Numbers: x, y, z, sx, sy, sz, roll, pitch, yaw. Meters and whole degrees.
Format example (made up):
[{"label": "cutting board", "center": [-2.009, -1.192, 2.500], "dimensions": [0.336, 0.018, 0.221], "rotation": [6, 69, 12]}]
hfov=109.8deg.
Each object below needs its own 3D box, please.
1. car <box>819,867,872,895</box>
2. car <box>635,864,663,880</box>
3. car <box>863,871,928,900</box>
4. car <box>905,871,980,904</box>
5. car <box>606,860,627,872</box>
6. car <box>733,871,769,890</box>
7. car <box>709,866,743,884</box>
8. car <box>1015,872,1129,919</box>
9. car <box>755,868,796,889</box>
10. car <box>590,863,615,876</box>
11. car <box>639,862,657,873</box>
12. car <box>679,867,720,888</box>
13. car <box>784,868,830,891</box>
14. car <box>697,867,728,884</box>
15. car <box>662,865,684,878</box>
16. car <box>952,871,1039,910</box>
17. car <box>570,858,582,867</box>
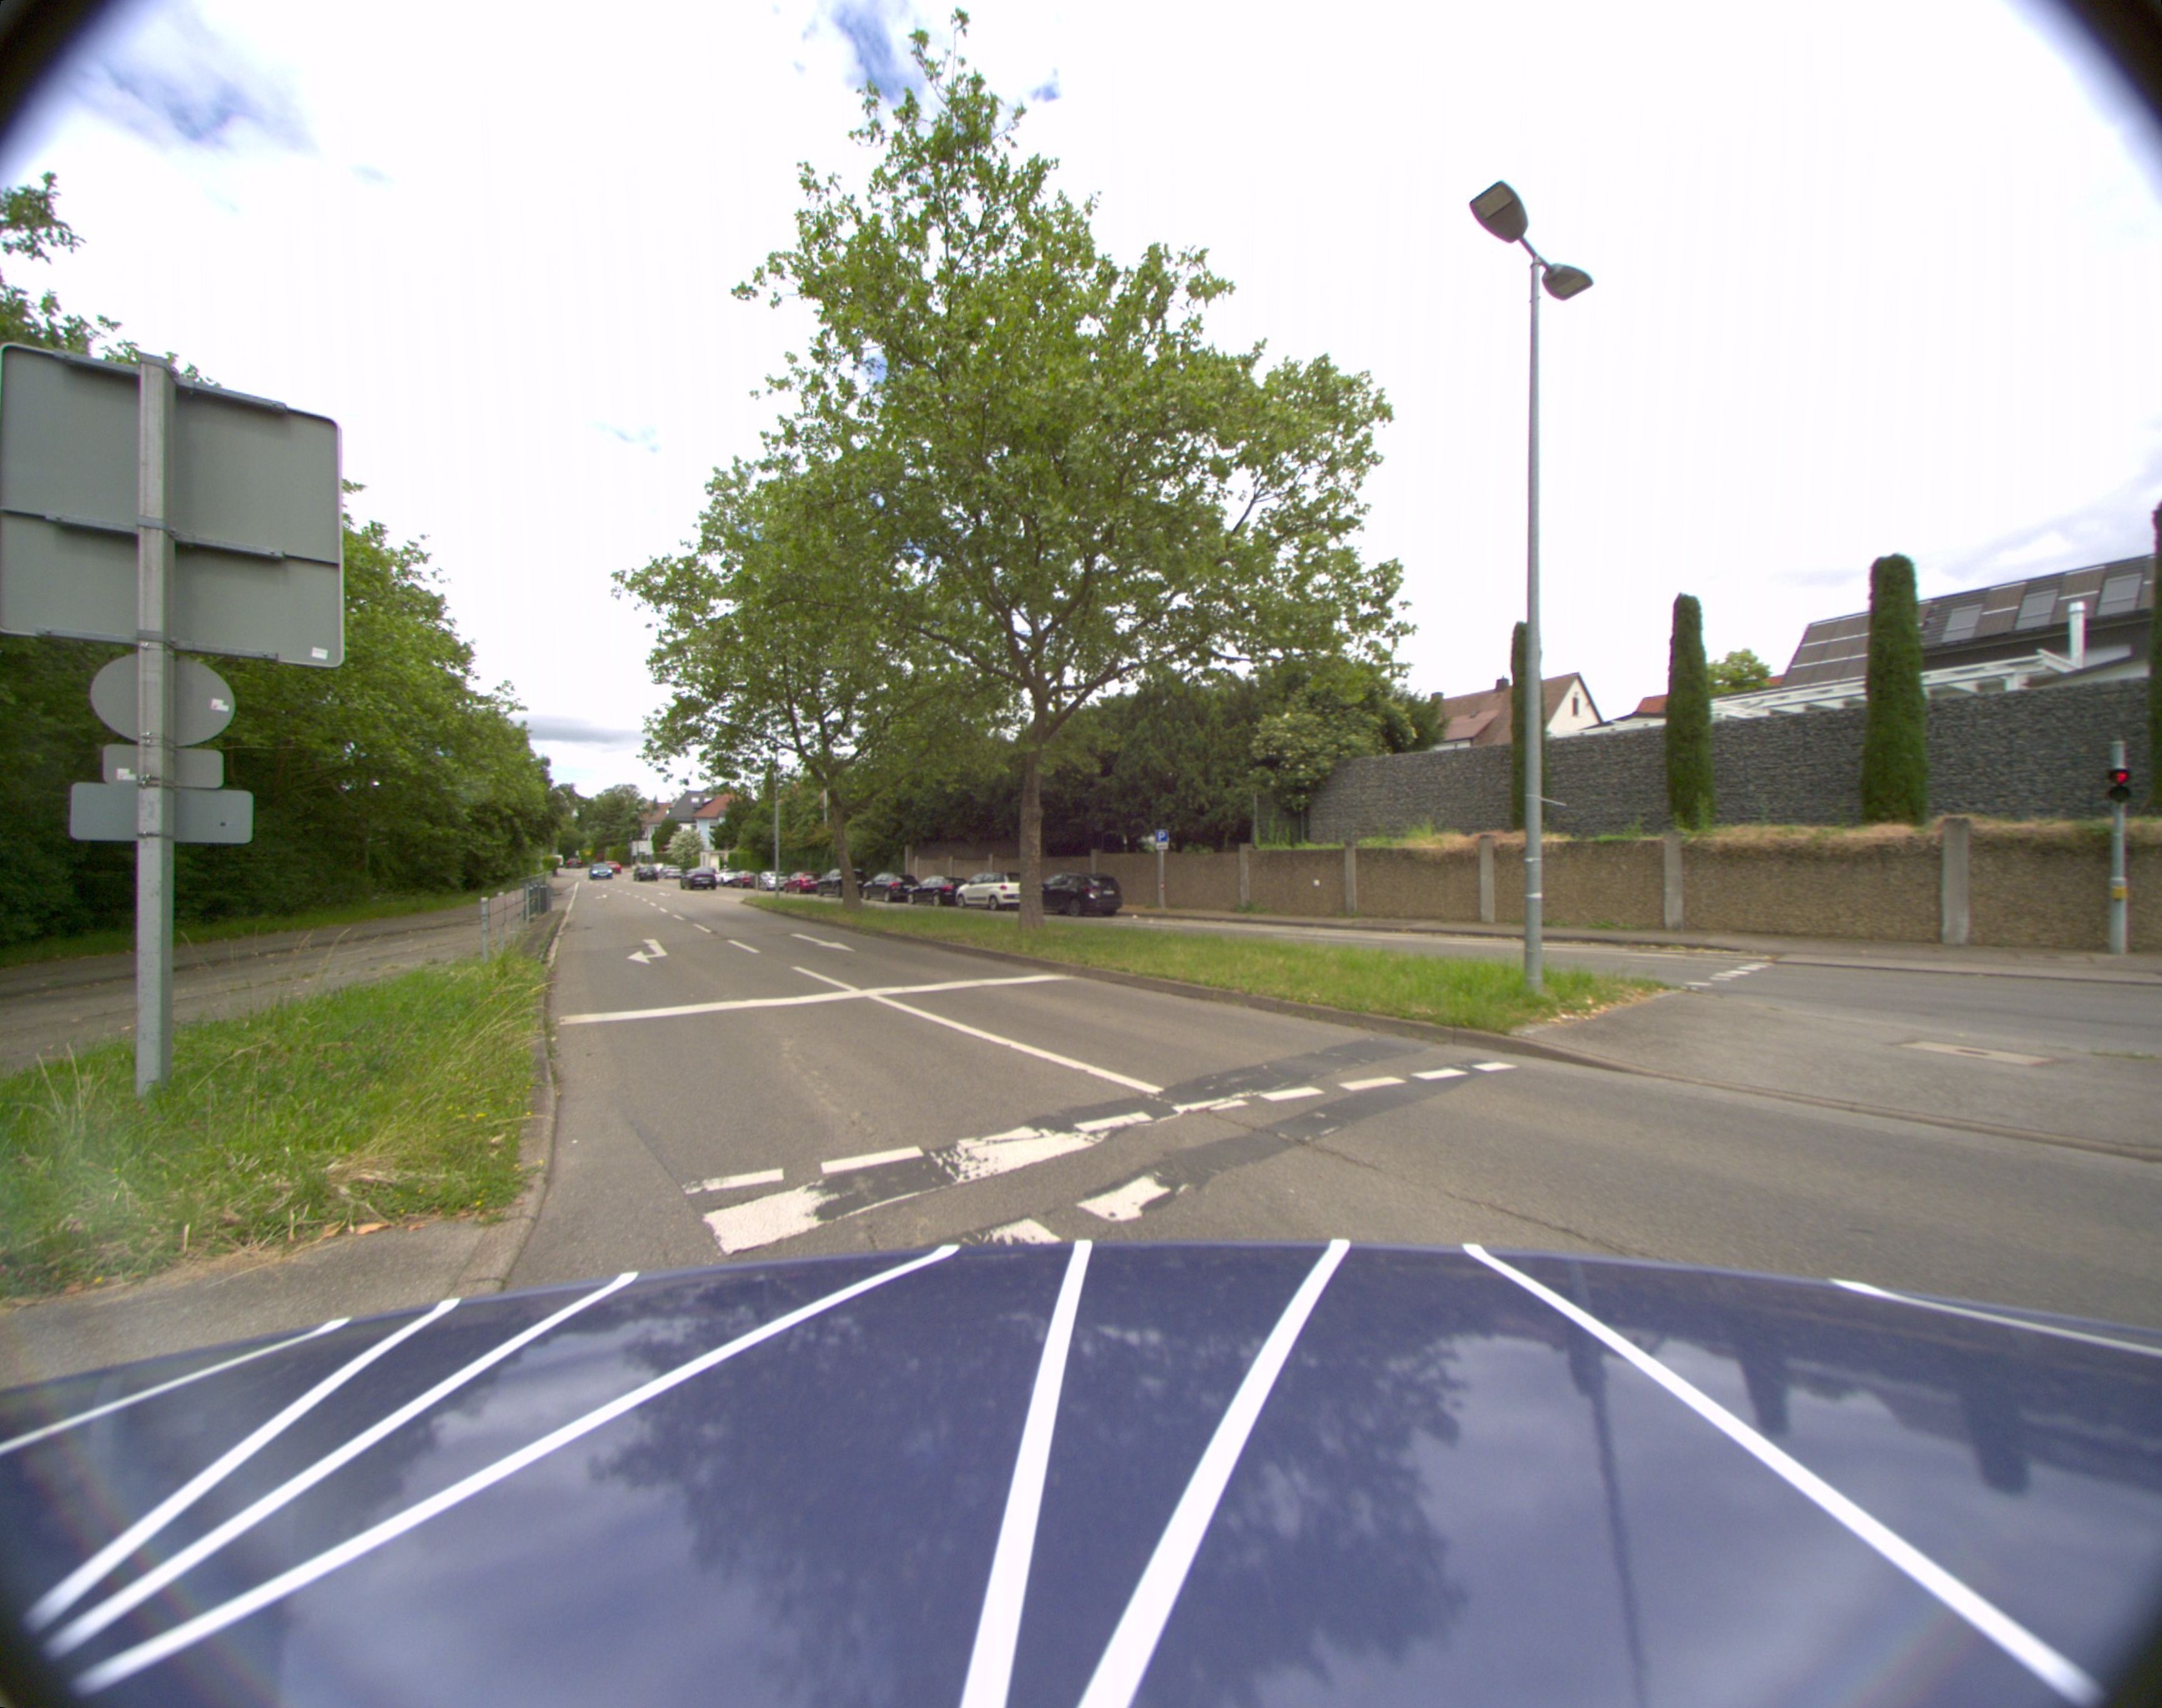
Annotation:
[{"label": "car", "center": [-14.090, 1.585, 45.327], "dimensions": [1.801, 1.594, 4.028], "rotation": [0, -1, -37]}, {"label": "car", "center": [-43.348, 1.816, 76.220], "dimensions": [1.849, 1.606, 3.903], "rotation": [2, -2, -39]}, {"label": "car", "center": [-10.026, 1.680, 40.909], "dimensions": [1.801, 1.495, 4.027], "rotation": [2, -2, -39]}, {"label": "car", "center": [-6.769, 1.597, 36.820], "dimensions": [1.801, 1.495, 4.027], "rotation": [2, -2, -39]}, {"label": "car", "center": [-57.773, 1.509, 94.456], "dimensions": [1.691, 1.495, 3.821], "rotation": [2, -2, -39]}, {"label": "car", "center": [-26.613, 2.101, 61.220], "dimensions": [1.691, 1.495, 3.821], "rotation": [2, -2, -39]}, {"label": "car", "center": [-30.423, 1.783, 65.035], "dimensions": [1.691, 1.495, 3.821], "rotation": [2, -2, -39]}, {"label": "car", "center": [-0.407, 1.523, 28.804], "dimensions": [1.801, 1.606, 4.449], "rotation": [2, -2, -42]}, {"label": "car", "center": [-22.559, 1.772, 56.089], "dimensions": [1.691, 1.495, 3.821], "rotation": [2, -2, -39]}, {"label": "car", "center": [-51.139, 1.665, 81.238], "dimensions": [1.801, 1.420, 4.136], "rotation": [2, -2, -38]}, {"label": "car", "center": [-54.676, 1.727, 95.910], "dimensions": [1.690, 1.321, 3.822], "rotation": [-1, 0, -35]}, {"label": "car", "center": [-29.092, 1.781, 57.930], "dimensions": [1.801, 1.606, 4.575], "rotation": [2, -2, -40]}, {"label": "car", "center": [-18.433, 1.718, 51.009], "dimensions": [1.691, 1.495, 3.821], "rotation": [2, -2, -39]}, {"label": "car", "center": [-33.641, 1.929, 69.348], "dimensions": [1.691, 1.495, 3.821], "rotation": [2, -2, -39]}, {"label": "car", "center": [-44.396, 1.859, 82.660], "dimensions": [1.690, 1.321, 3.822], "rotation": [-1, 0, -35]}, {"label": "car", "center": [-3.774, 1.541, 33.034], "dimensions": [1.801, 1.606, 4.206], "rotation": [2, -2, -39]}, {"label": "car", "center": [-83.183, 1.413, 125.203], "dimensions": [1.675, 1.536, 3.990], "rotation": [0, 0, -33]}]
